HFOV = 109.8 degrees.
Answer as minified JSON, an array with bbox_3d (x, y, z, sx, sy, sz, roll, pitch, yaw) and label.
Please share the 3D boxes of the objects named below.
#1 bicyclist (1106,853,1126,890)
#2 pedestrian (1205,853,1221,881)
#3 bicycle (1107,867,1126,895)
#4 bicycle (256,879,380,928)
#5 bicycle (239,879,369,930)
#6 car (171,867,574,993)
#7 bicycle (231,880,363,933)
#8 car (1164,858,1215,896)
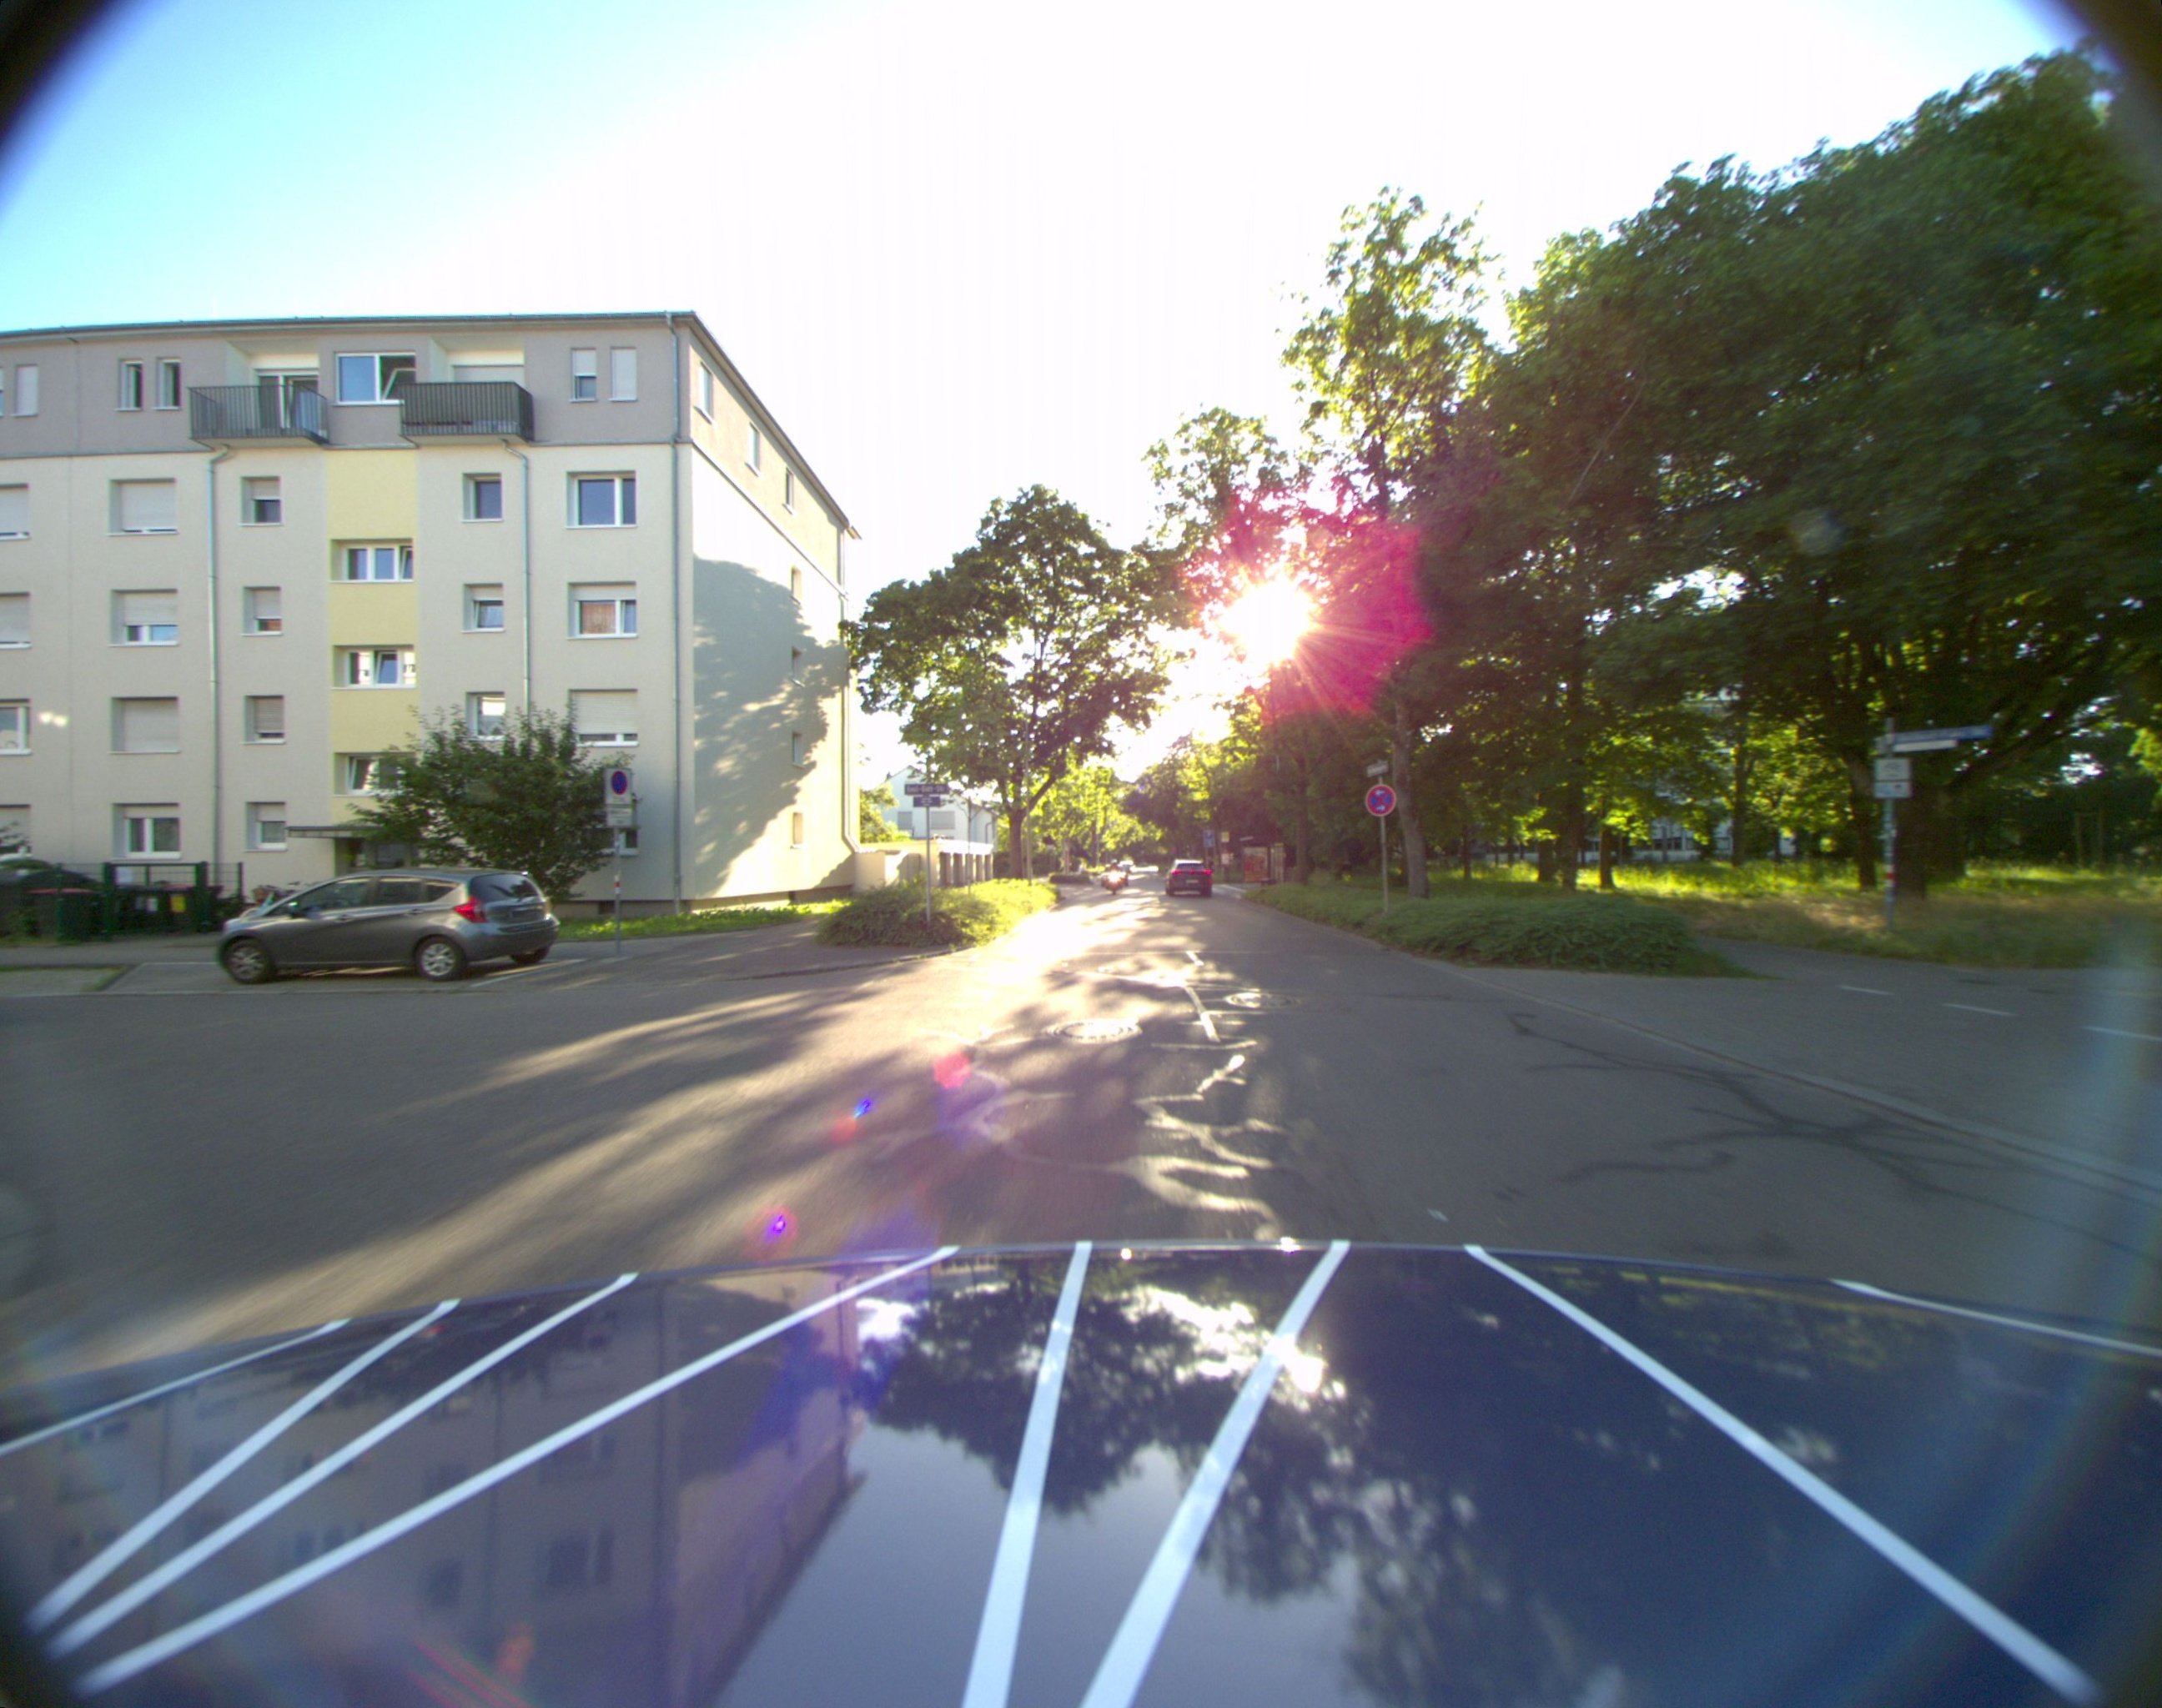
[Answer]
[{"bbox_3d":[1.595,0.794,34.523,0.819,1.635,0.745,-2,1,3],"label":"bicyclist"},{"bbox_3d":[8.803,0.860,50.655,0.905,1.810,0.720,-1,0,0],"label":"pedestrian"},{"bbox_3d":[1.617,1.211,34.653,0.829,1.182,2.302,-1,0,3],"label":"bicycle"},{"bbox_3d":[-15.880,1.014,15.838,1.975,0.954,0.545,-1,0,-2],"label":"bicycle"},{"bbox_3d":[-15.548,1.004,15.231,1.975,0.954,0.545,-1,0,-2],"label":"bicycle"},{"bbox_3d":[-9.834,1.010,10.794,4.051,1.506,1.726,-1,1,0],"label":"car"},{"bbox_3d":[-15.084,1.003,14.642,1.906,0.954,0.545,-1,0,-2],"label":"bicycle"},{"bbox_3d":[4.737,0.967,33.789,1.848,1.569,4.337,1,0,3],"label":"car"}]
